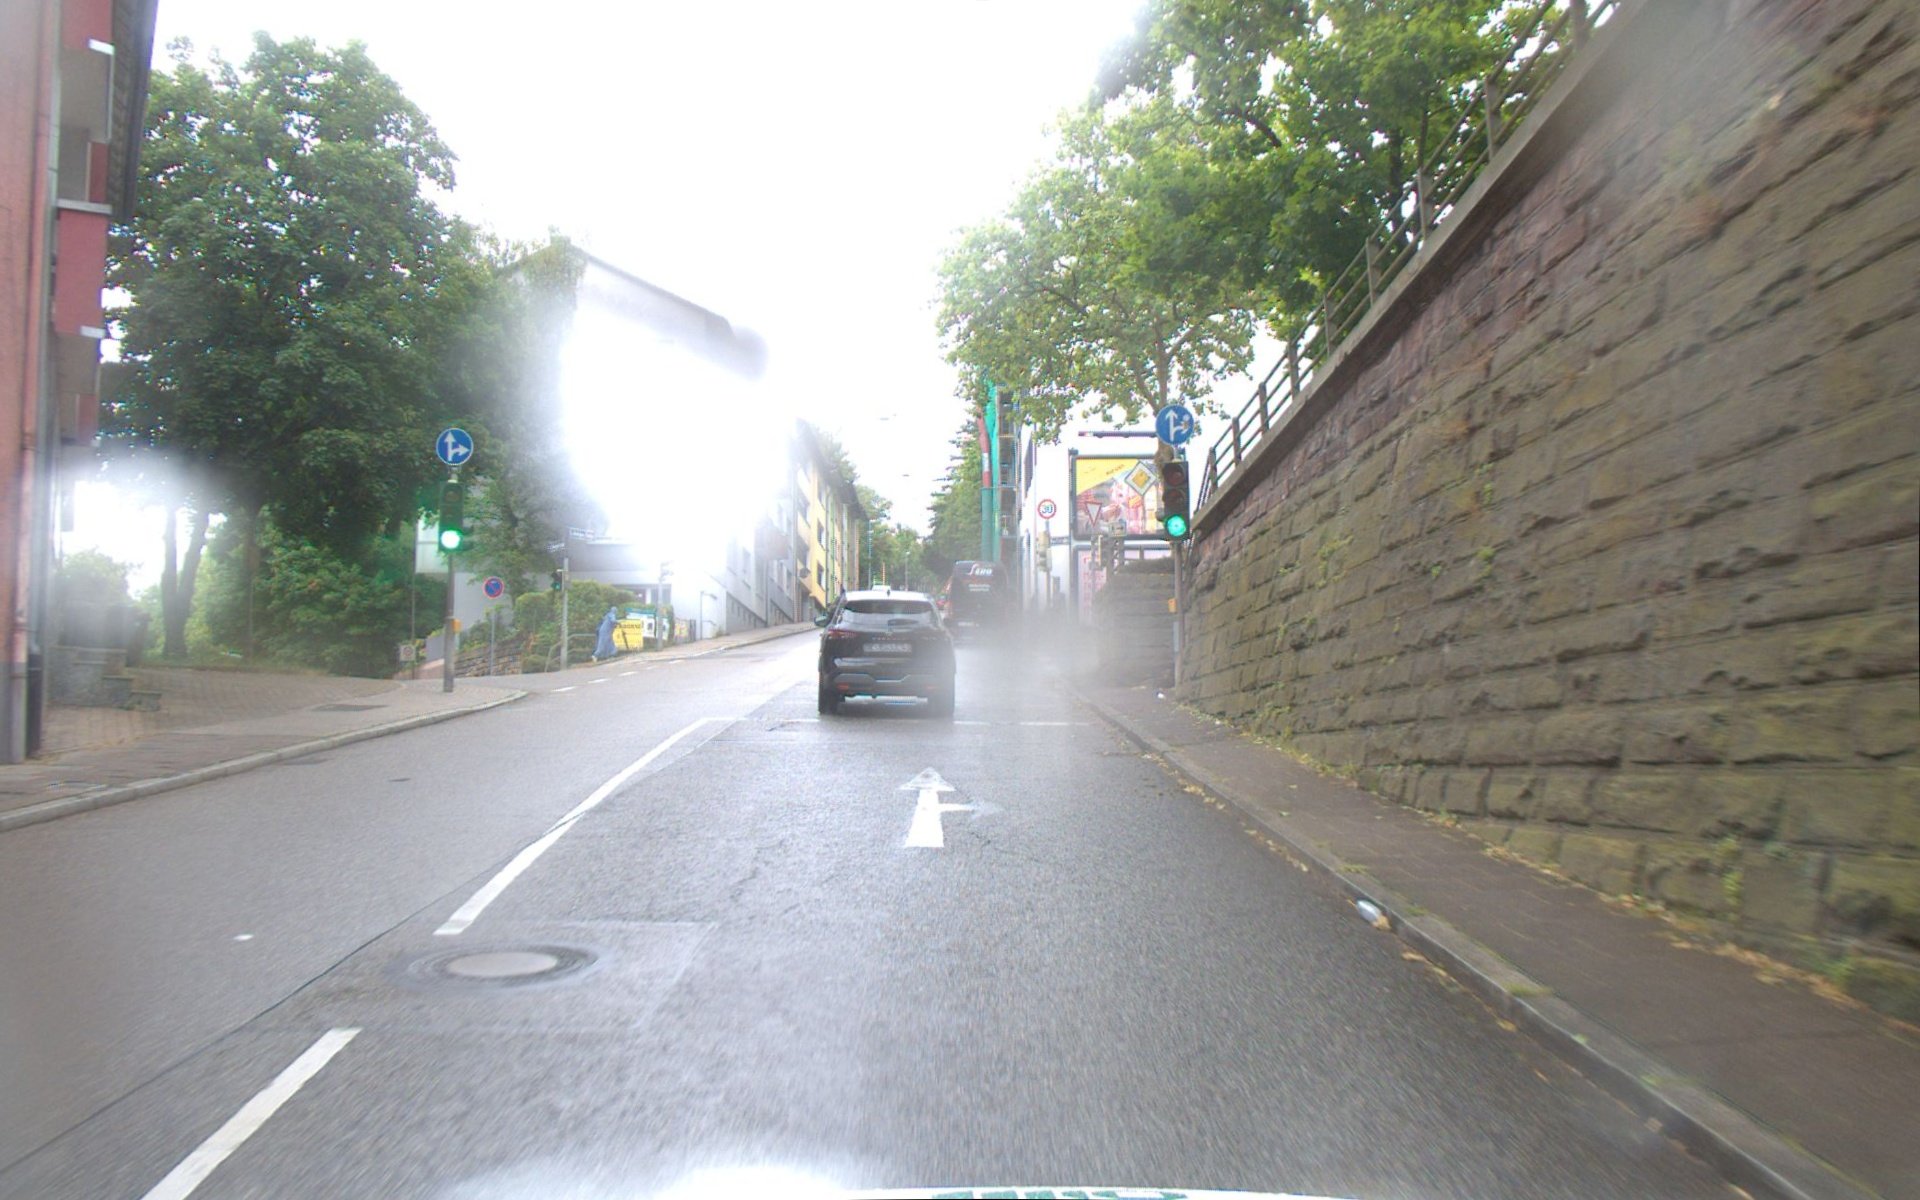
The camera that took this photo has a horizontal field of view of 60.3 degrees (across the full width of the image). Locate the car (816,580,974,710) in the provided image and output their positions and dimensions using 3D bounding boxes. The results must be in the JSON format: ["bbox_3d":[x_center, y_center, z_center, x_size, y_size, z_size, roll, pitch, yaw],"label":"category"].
[{"bbox_3d":[-0.836,0.541,22.834,1.953,1.586,4.000,1,1,-1],"label":"car"}]

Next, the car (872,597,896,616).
[{"bbox_3d":[-6.464,0.547,140.357,1.950,1.613,4.303,0,0,-2],"label":"car"}]

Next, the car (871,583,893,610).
[{"bbox_3d":[-7.362,-0.385,156.565,1.950,2.518,5.782,0,0,-2],"label":"car"}]

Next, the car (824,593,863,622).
[{"bbox_3d":[-7.054,0.445,100.837,1.952,1.679,4.442,0,0,2],"label":"car"}]

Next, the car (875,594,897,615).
[{"bbox_3d":[-6.568,0.415,147.042,1.950,1.786,4.478,0,0,-2],"label":"car"}]

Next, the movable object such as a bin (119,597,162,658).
[{"bbox_3d":[-14.420,0.490,29.114,0.620,1.034,0.496,2,-3,-26],"label":"movable object such as a bin"}]

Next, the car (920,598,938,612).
[{"bbox_3d":[-3.641,0.602,192.023,2.033,1.587,3.999,1,0,-2],"label":"car"}]

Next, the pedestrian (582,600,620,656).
[{"bbox_3d":[-10.161,0.803,46.811,0.852,1.568,1.086,2,-2,-4],"label":"pedestrian"}]

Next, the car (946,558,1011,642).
[{"bbox_3d":[0.561,0.068,53.744,1.953,2.456,5.835,1,-2,0],"label":"car"}]

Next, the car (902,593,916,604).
[{"bbox_3d":[-7.628,-0.170,247.629,2.033,1.587,3.999,1,0,-2],"label":"car"}]

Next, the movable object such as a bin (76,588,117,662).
[{"bbox_3d":[-14.724,0.429,28.223,0.553,1.221,0.683,2,-3,-27],"label":"movable object such as a bin"}]

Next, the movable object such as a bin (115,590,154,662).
[{"bbox_3d":[-14.221,0.452,28.508,0.553,1.221,0.683,2,-3,-27],"label":"movable object such as a bin"}]

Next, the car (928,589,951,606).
[{"bbox_3d":[-1.933,-0.227,153.242,2.033,1.587,3.998,1,0,-2],"label":"car"}]
